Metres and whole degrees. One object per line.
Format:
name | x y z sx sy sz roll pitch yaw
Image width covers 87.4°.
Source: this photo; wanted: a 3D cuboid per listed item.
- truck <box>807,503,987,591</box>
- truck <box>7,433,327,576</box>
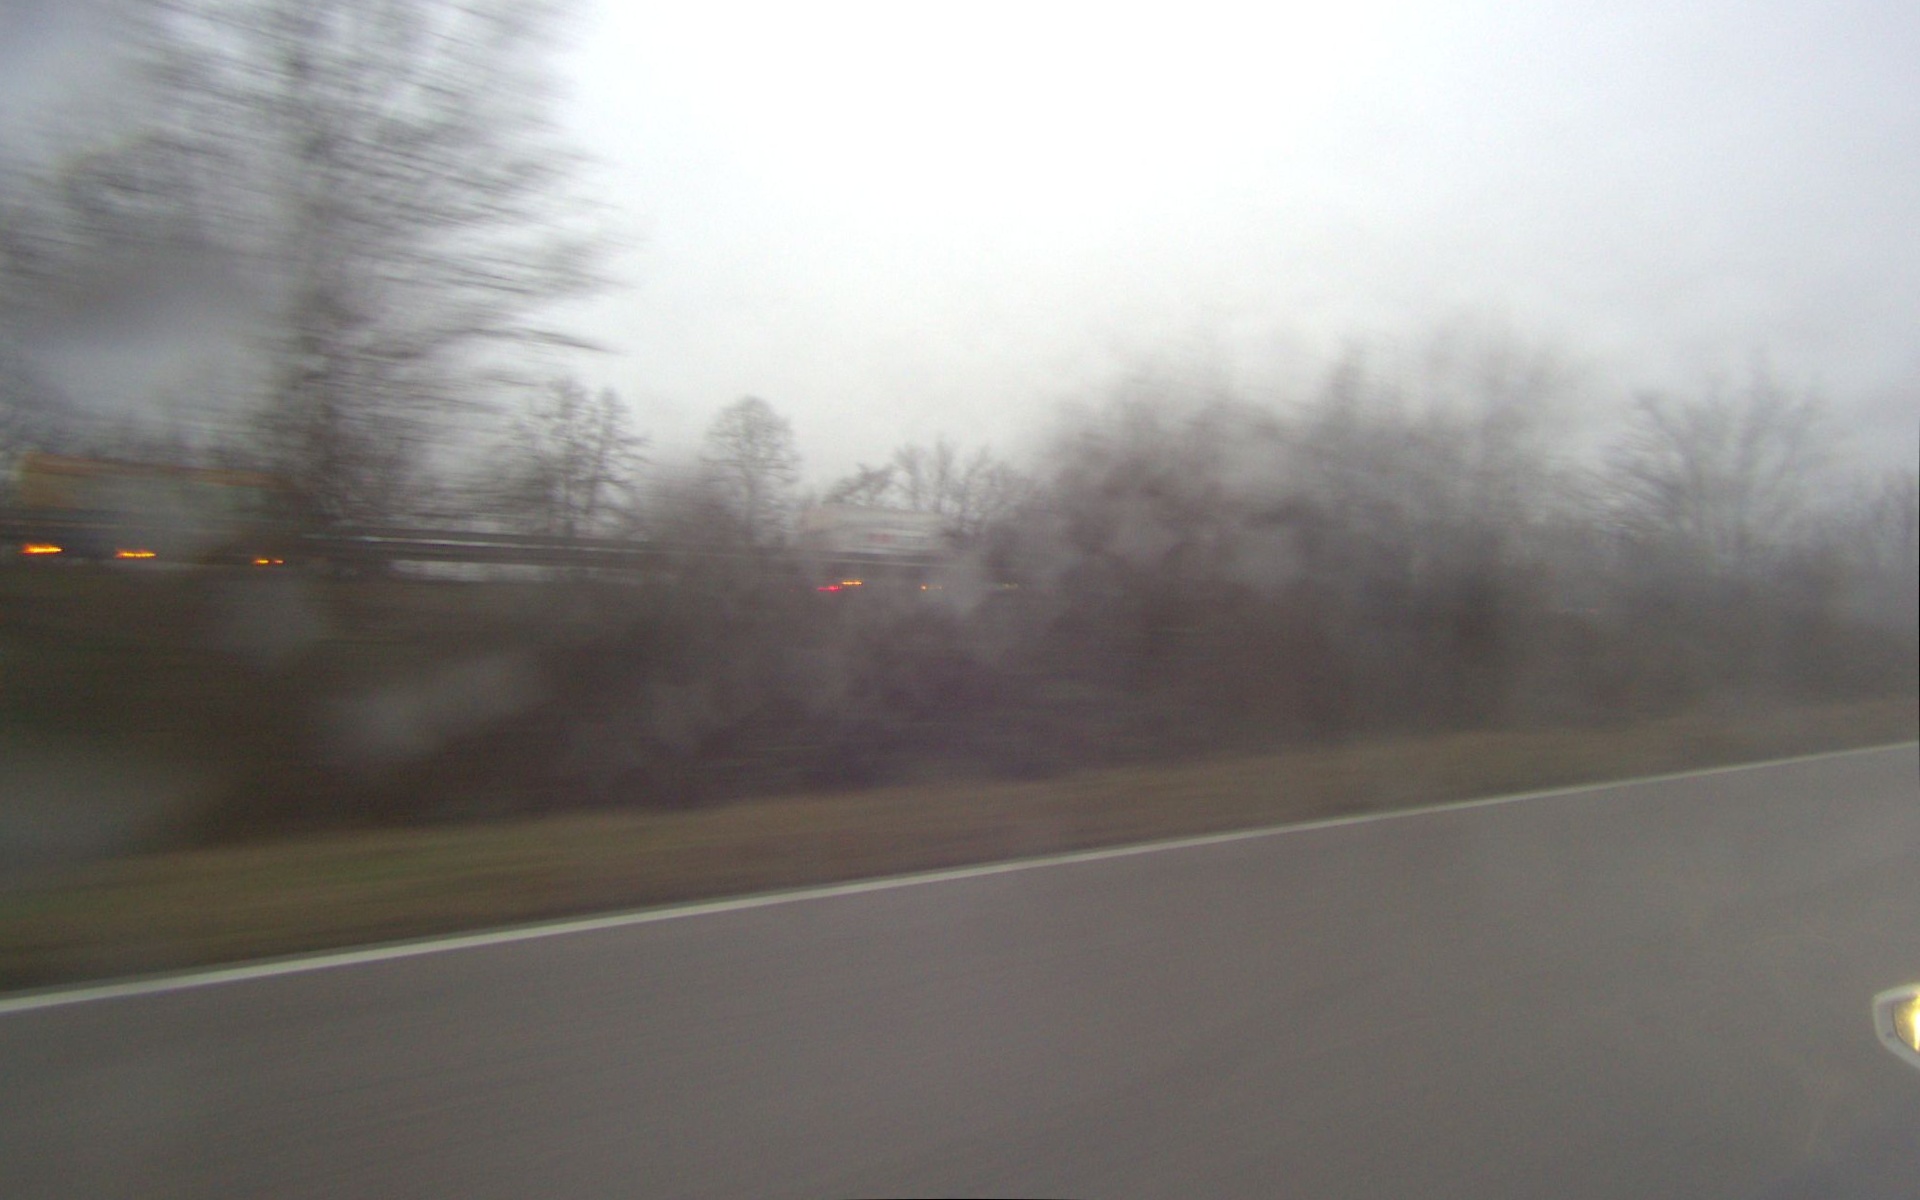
truck | -2.015 -1.641 32.994 5.593 2.526 1.983 2 0 -31
truck | -15.689 -1.780 20.288 4.774 2.374 1.983 2 0 -31
